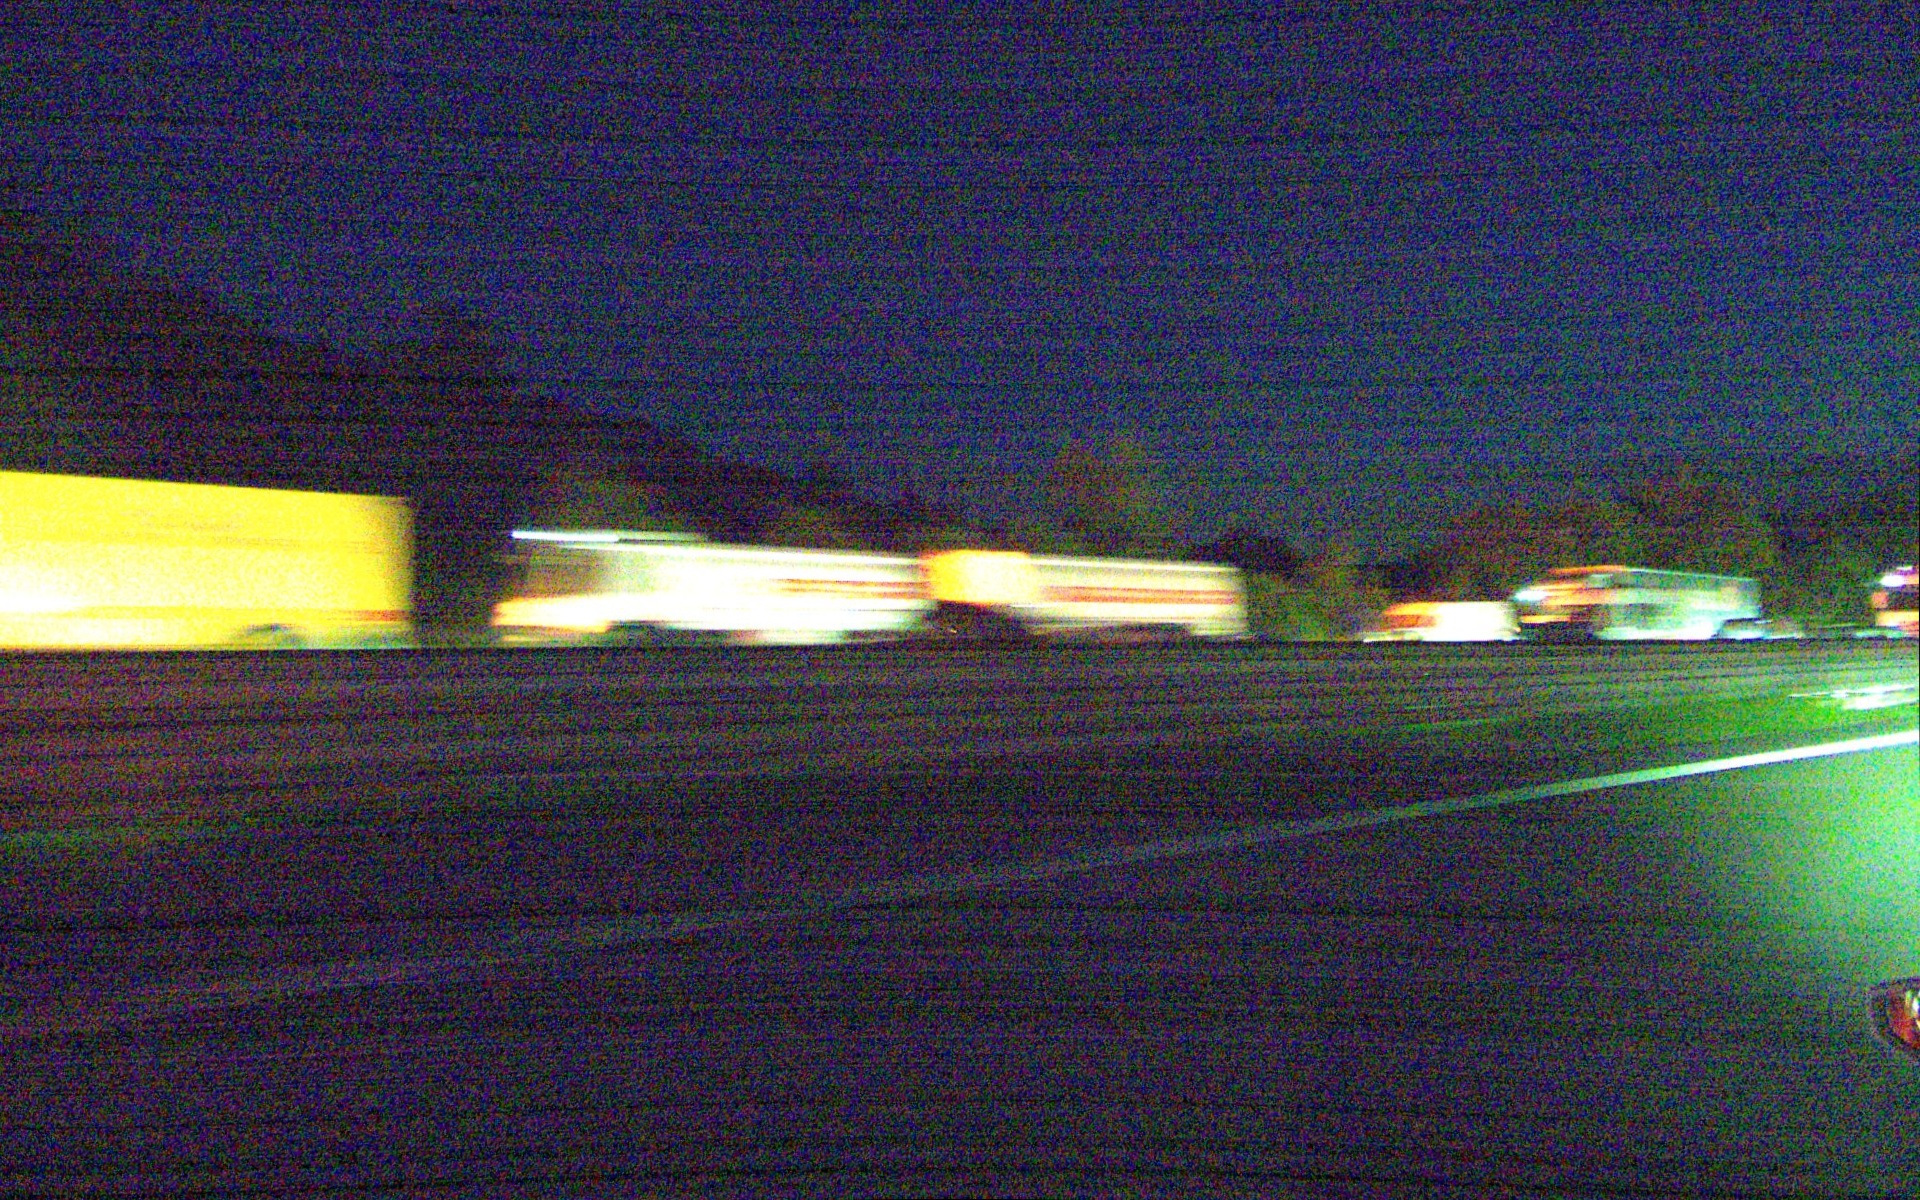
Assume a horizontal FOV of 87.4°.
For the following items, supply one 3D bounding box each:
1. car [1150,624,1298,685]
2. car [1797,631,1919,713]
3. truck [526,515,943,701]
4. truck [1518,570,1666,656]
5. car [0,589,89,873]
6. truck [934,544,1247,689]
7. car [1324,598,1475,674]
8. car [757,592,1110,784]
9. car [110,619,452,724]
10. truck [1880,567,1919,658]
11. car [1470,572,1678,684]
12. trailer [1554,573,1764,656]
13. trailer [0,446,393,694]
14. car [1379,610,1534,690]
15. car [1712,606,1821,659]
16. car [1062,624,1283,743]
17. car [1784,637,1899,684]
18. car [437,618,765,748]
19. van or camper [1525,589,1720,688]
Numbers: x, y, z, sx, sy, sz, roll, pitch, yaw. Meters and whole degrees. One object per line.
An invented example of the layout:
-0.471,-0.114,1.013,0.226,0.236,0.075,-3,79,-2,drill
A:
8.122,1.658,30.787,4.266,1.668,1.982,3,0,-32,car
25.437,1.978,28.082,3.956,2.040,1.982,3,0,-32,car
-4.160,0.296,19.300,7.368,3.025,2.543,3,-2,-31,truck
27.449,0.605,43.607,6.290,3.488,2.944,1,0,-31,truck
-9.031,0.890,7.157,3.958,2.040,1.981,3,0,-34,car
3.238,0.507,24.011,7.318,3.025,2.749,3,-2,-31,truck
12.919,1.059,29.460,4.266,2.040,1.982,3,0,-32,car
-0.298,1.007,12.651,3.956,2.040,1.982,3,0,-32,car
-9.720,0.992,14.744,3.954,1.372,1.563,1,-2,-31,car
42.303,0.627,42.741,6.704,3.722,2.859,3,0,-32,truck
12.364,0.567,20.178,3.956,2.040,1.982,3,0,-32,car
32.916,0.750,46.952,13.285,3.488,2.944,2,0,-32,trailer
-16.345,-0.485,15.642,12.982,3.724,2.867,2,0,-32,trailer
18.812,1.806,37.933,6.288,2.755,2.301,1,0,-32,car
33.858,1.365,42.132,5.186,2.040,1.982,3,0,-32,car
4.205,1.583,19.780,3.956,2.040,1.982,3,0,-32,car
31.780,2.181,36.184,4.591,1.505,1.721,3,0,-30,car
-4.867,1.078,13.803,3.936,1.506,1.688,3,0,-34,car
20.043,1.156,30.219,7.523,2.666,2.072,2,-2,-33,van or camper
